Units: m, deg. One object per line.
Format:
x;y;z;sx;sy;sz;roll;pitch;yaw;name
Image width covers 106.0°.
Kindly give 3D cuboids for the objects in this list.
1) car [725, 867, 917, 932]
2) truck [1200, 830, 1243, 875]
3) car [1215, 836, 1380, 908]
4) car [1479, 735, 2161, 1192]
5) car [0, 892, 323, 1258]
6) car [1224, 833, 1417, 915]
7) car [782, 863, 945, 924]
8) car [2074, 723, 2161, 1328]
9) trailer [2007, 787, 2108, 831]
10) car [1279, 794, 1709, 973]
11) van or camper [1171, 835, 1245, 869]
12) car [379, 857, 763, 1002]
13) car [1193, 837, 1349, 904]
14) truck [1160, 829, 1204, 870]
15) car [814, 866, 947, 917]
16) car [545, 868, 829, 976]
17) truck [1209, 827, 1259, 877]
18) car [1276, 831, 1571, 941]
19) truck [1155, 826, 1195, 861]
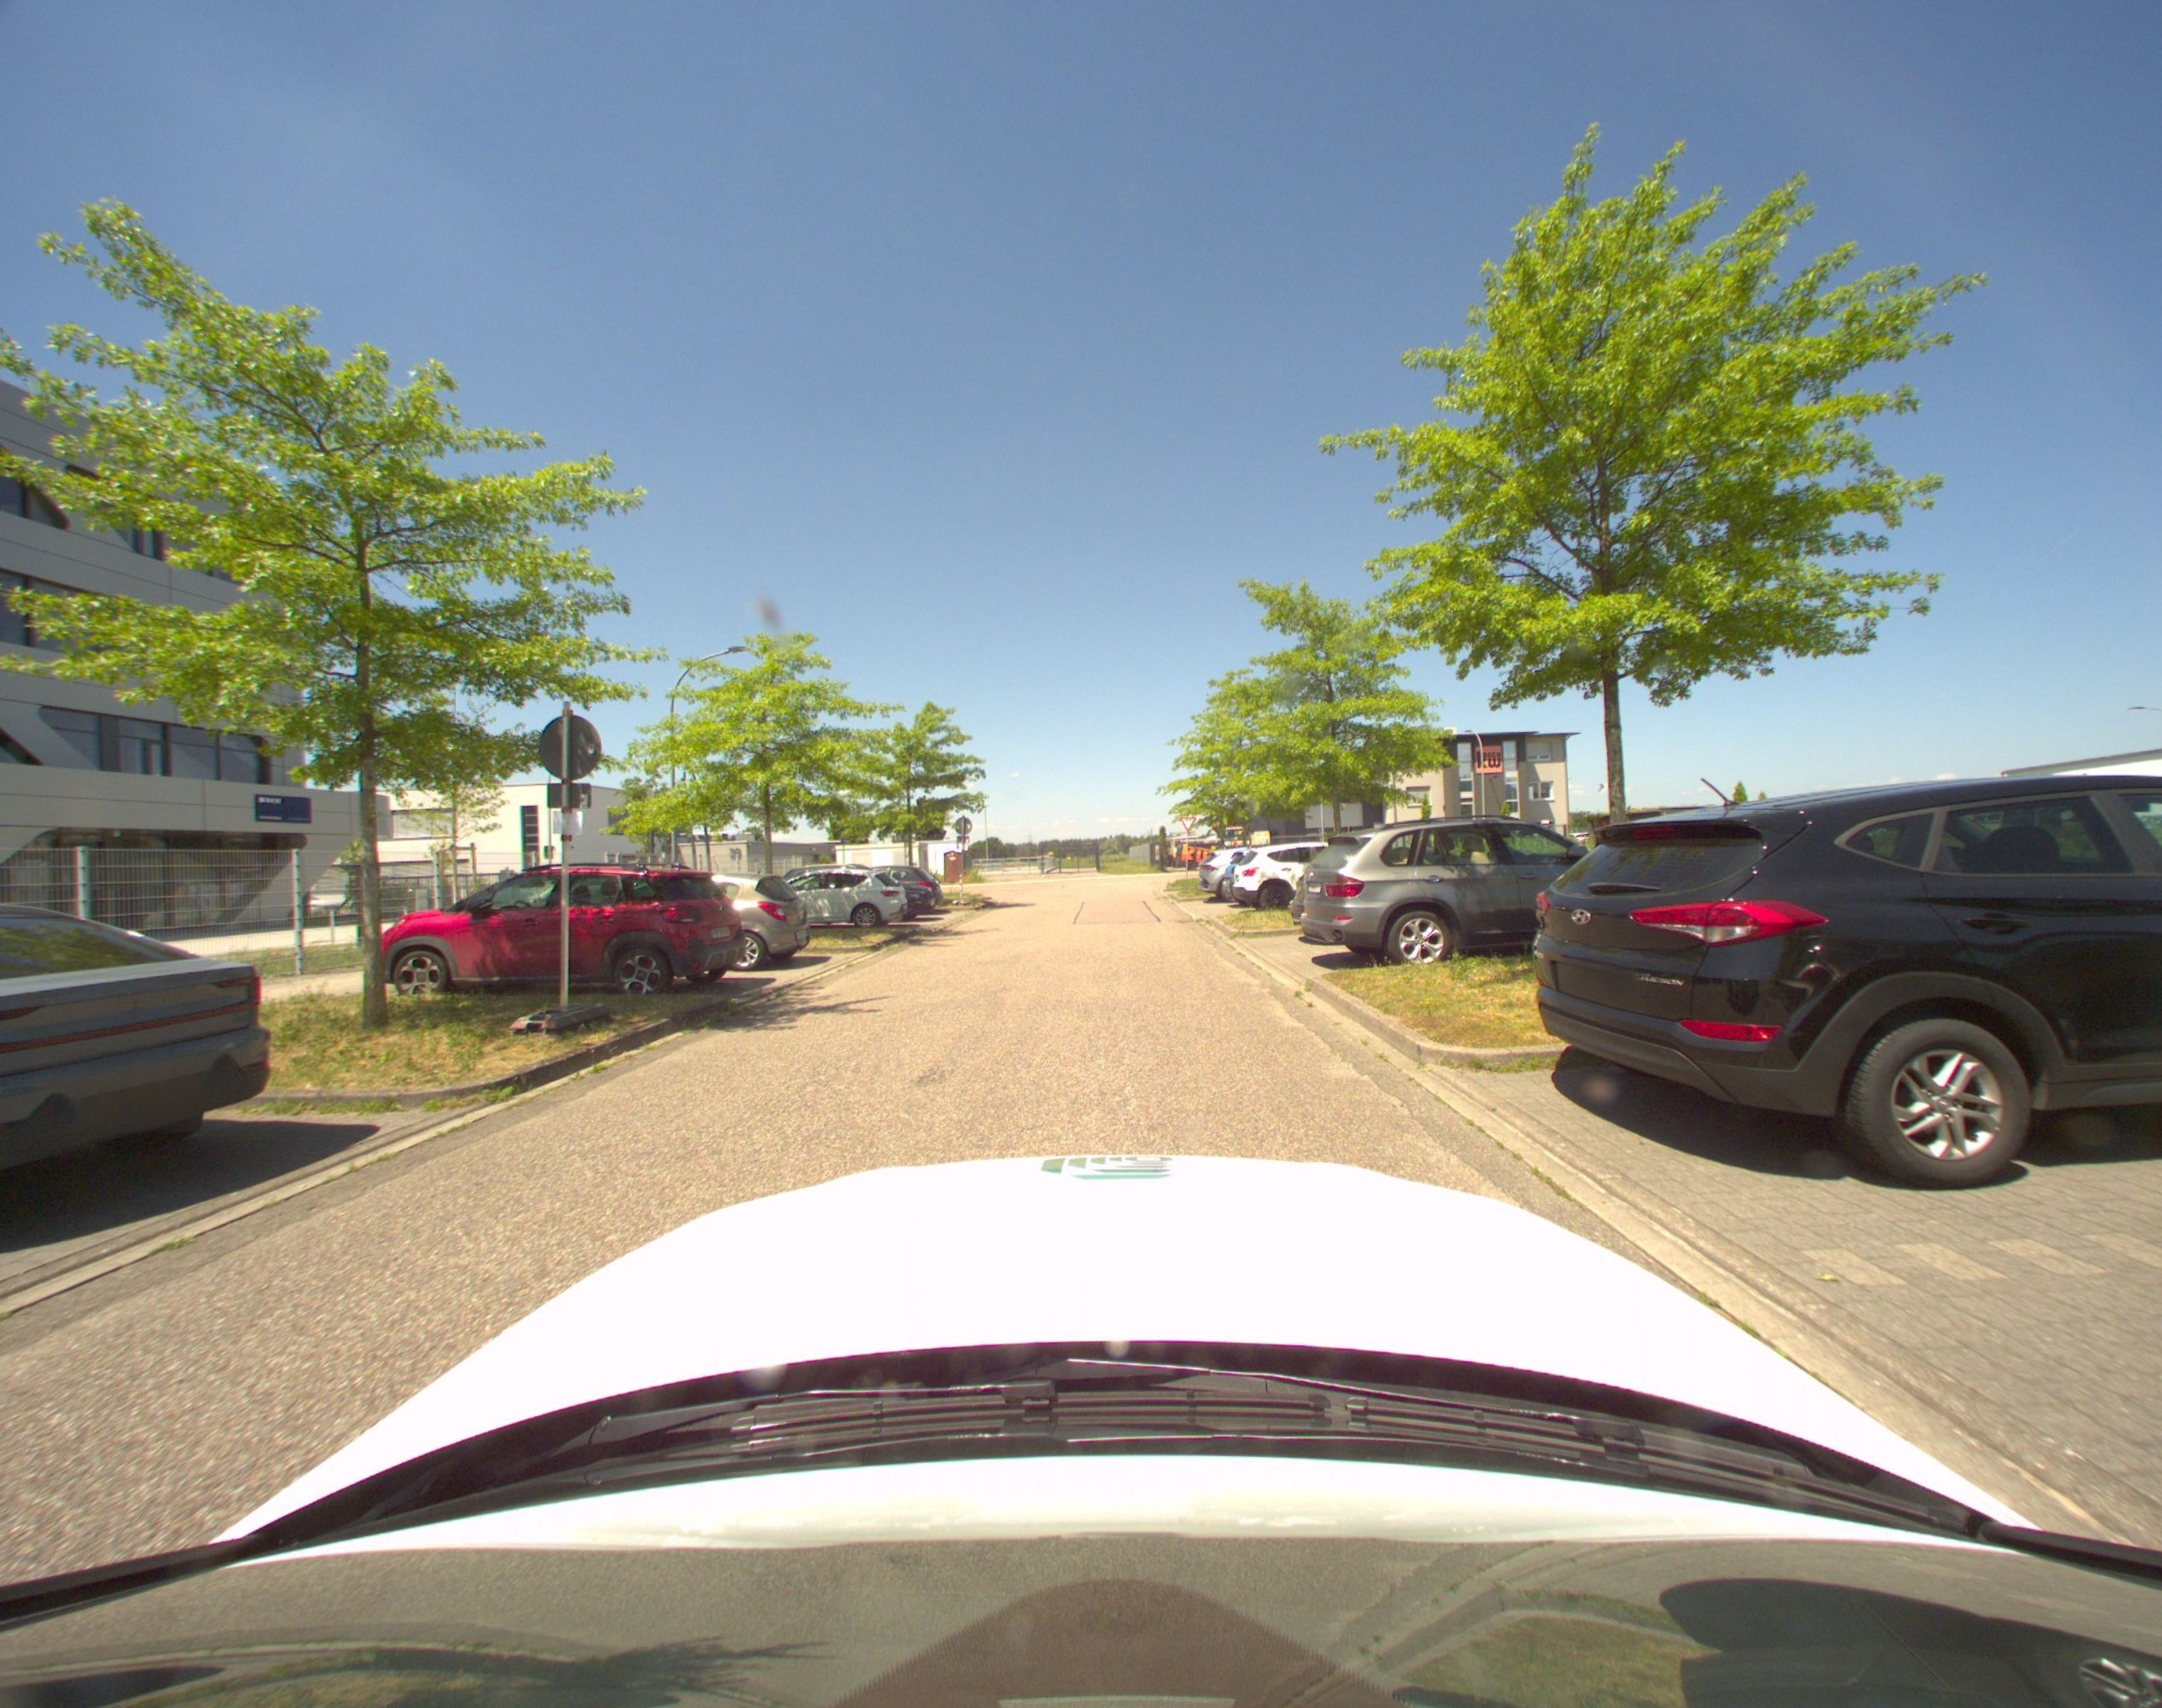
-6.229;1.071;19.869;4.065;1.424;1.872;-1;0;-2;car
13.399;-0.136;78.066;2.911;3.929;6.937;-3;0;1;truck
5.810;0.466;22.205;3.973;1.644;1.838;-4;0;0;car
4.584;0.357;4.153;4.159;1.696;1.782;-4;0;0;car
-6.626;0.980;4.035;4.177;1.480;1.713;0;0;2;car
5.654;0.472;19.659;4.052;1.607;1.902;-4;-1;2;car
-5.822;1.038;22.123;3.916;1.520;1.784;-1;0;-1;car
4.848;0.347;1.438;3.861;1.678;1.783;-4;0;2;car
65.024;-2.971;54.276;3.974;2.600;2.233;-3;0;0;trailer
5.051;0.333;10.457;4.435;1.768;1.992;-4;0;-1;car
8.995;-0.166;58.002;4.919;2.163;2.001;-3;1;1;van or camper
-6.294;0.890;10.365;3.723;1.621;1.817;-1;0;2;car
5.661;0.477;24.689;4.263;1.644;1.851;-4;0;1;car
8.233;-0.348;67.108;2.717;3.061;6.937;-3;0;1;truck
-6.031;1.102;24.829;3.615;1.436;1.725;-1;0;-1;car
-6.110;1.017;12.978;3.647;1.508;1.730;-1;0;-2;car
13.070;-0.184;70.053;2.911;3.929;6.937;-3;0;1;truck
5.336;0.498;13.113;3.908;1.409;1.909;-3;-1;1;car
8.604;-0.958;75.625;2.911;2.937;6.937;-3;0;1;truck
